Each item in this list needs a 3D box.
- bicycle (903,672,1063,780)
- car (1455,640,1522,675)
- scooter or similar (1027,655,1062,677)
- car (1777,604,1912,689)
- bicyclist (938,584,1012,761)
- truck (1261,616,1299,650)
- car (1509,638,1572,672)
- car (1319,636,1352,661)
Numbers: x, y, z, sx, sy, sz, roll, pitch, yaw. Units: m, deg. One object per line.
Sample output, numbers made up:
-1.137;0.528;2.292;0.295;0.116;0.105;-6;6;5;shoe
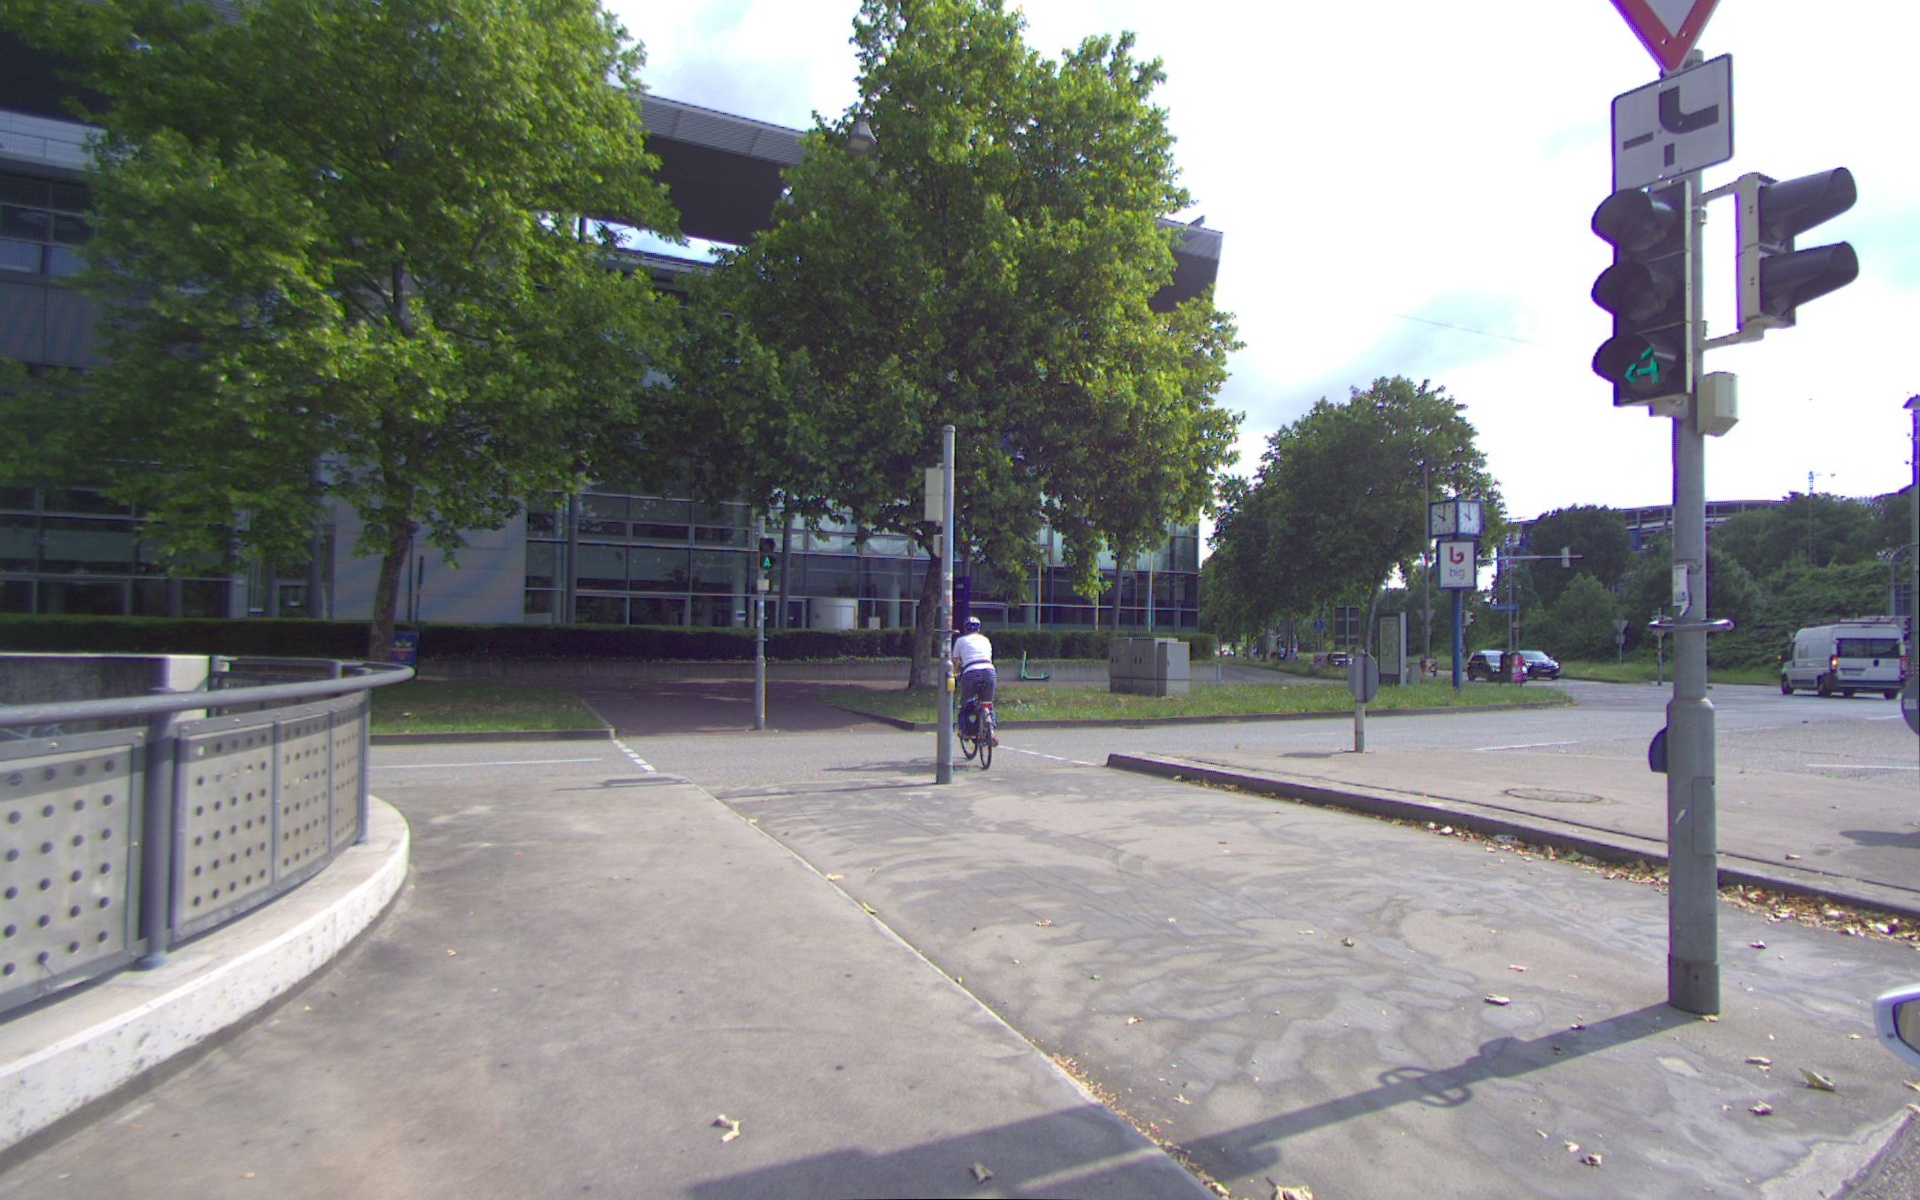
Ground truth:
0.216;1.427;11.888;0.876;1.100;2.164;2;-3;-31;bicycle
27.483;2.957;52.391;1.833;1.594;4.572;2;-1;12;car
2.925;2.290;34.872;1.212;0.722;0.240;2;-1;-21;scooter or similar
31.111;1.629;35.529;2.163;2.762;4.929;0;-3;24;car
0.175;0.853;12.039;0.597;2.040;0.725;1;-2;-31;bicyclist
42.243;4.236;132.861;2.605;3.940;10.163;1;1;5;truck
32.080;2.990;55.656;1.678;1.608;4.364;2;0;11;car
29.625;3.819;79.371;1.700;1.593;4.002;4;2;11;car
